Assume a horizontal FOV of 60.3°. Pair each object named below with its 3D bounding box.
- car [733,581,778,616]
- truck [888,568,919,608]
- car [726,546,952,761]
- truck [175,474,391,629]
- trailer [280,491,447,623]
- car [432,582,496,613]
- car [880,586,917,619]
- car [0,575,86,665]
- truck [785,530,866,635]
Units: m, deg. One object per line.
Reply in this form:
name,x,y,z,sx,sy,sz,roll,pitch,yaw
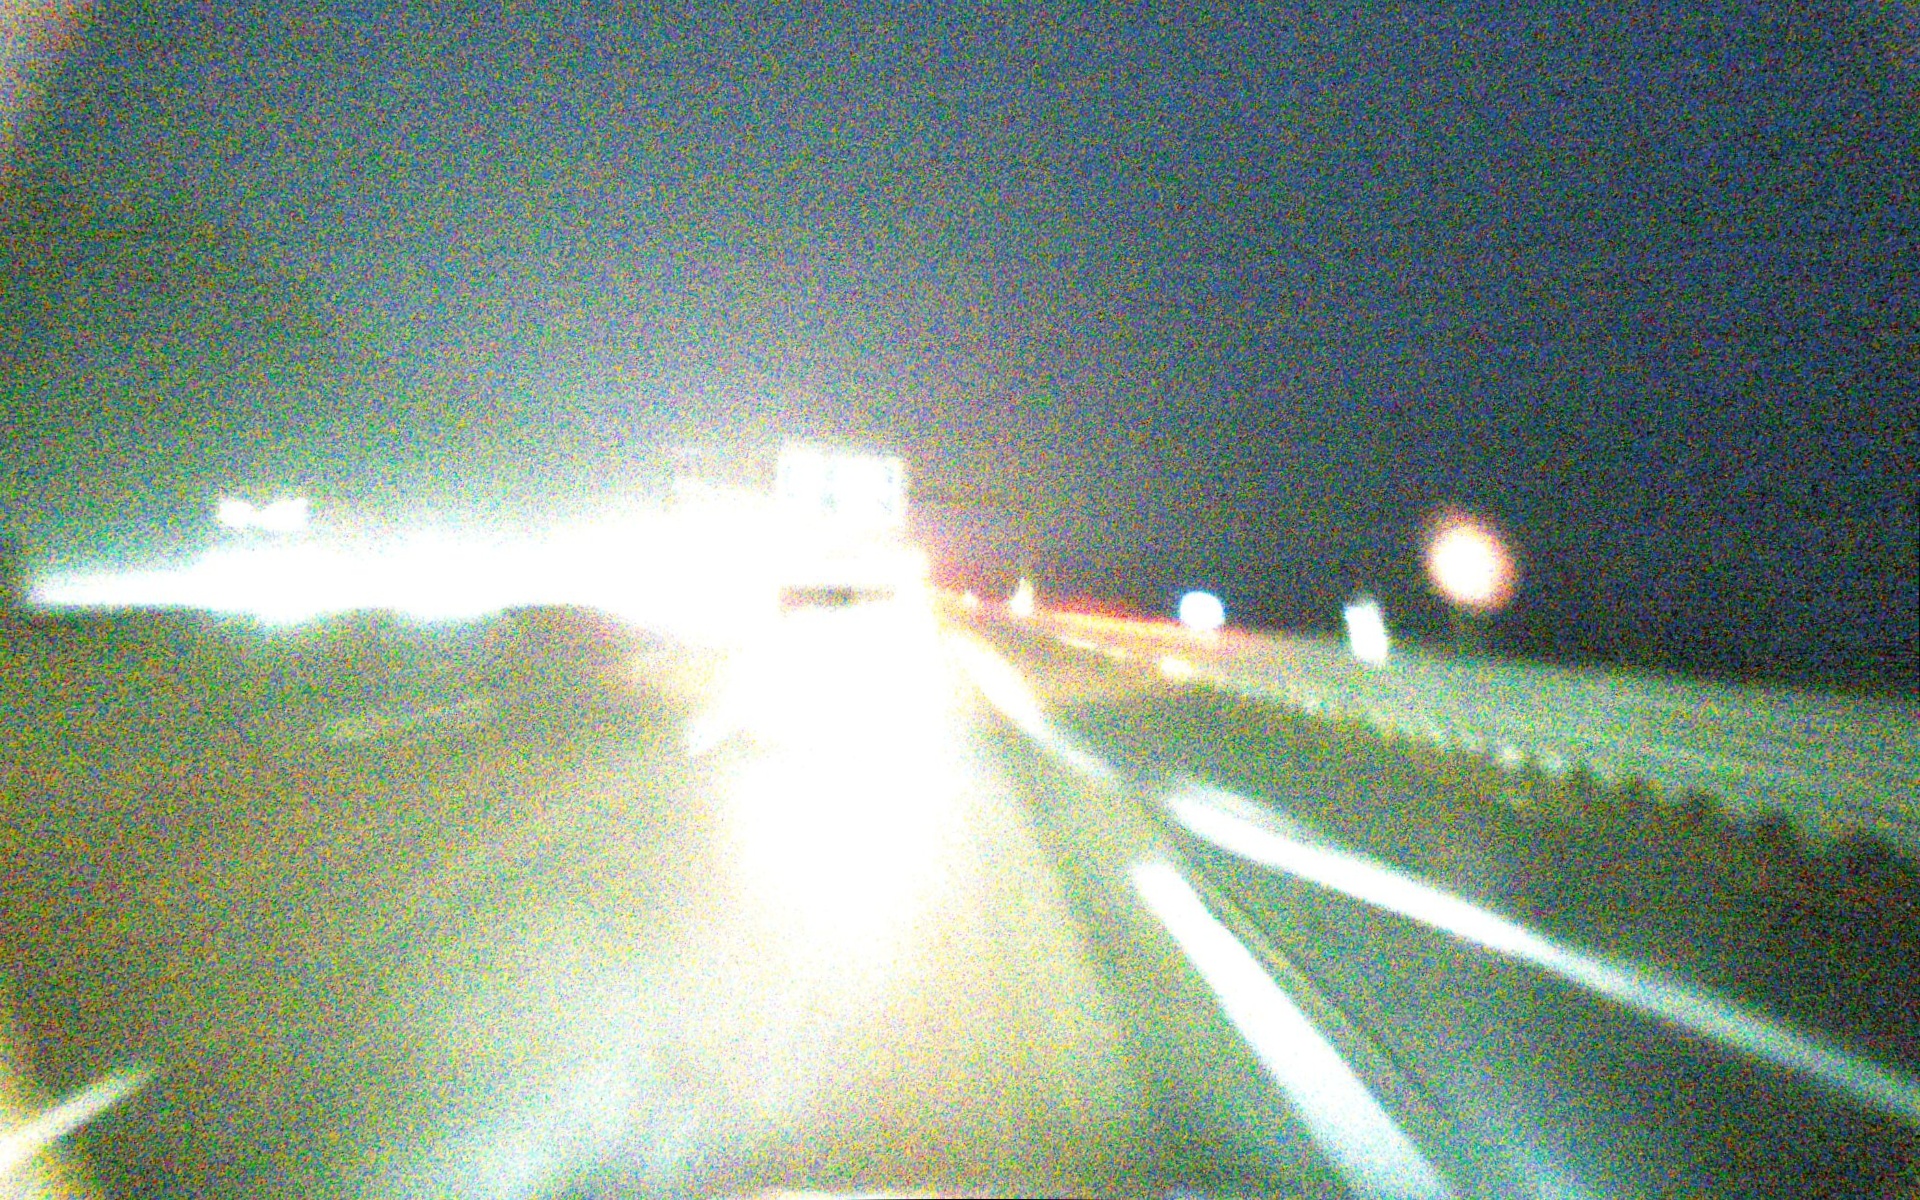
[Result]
car,-11.449,-0.095,92.687,1.954,1.736,4.194,6,0,-1
truck,-7.484,-1.486,217.961,3.747,5.001,11.599,2,0,-3
car,-1.157,0.472,17.029,1.914,1.823,5.121,2,0,-2
truck,-26.531,-1.813,65.672,4.255,5.229,10.466,5,0,-3
trailer,-26.980,-1.872,75.488,4.254,5.229,8.992,5,0,-3
car,-21.935,-0.112,73.268,1.673,1.242,4.270,4,0,-3
car,-3.441,0.118,92.068,1.954,1.736,4.193,2,0,-3
car,-17.504,0.321,28.996,1.672,1.506,5.016,3,0,-1
truck,-7.732,-0.958,97.086,4.084,5.641,13.067,2,0,-3
